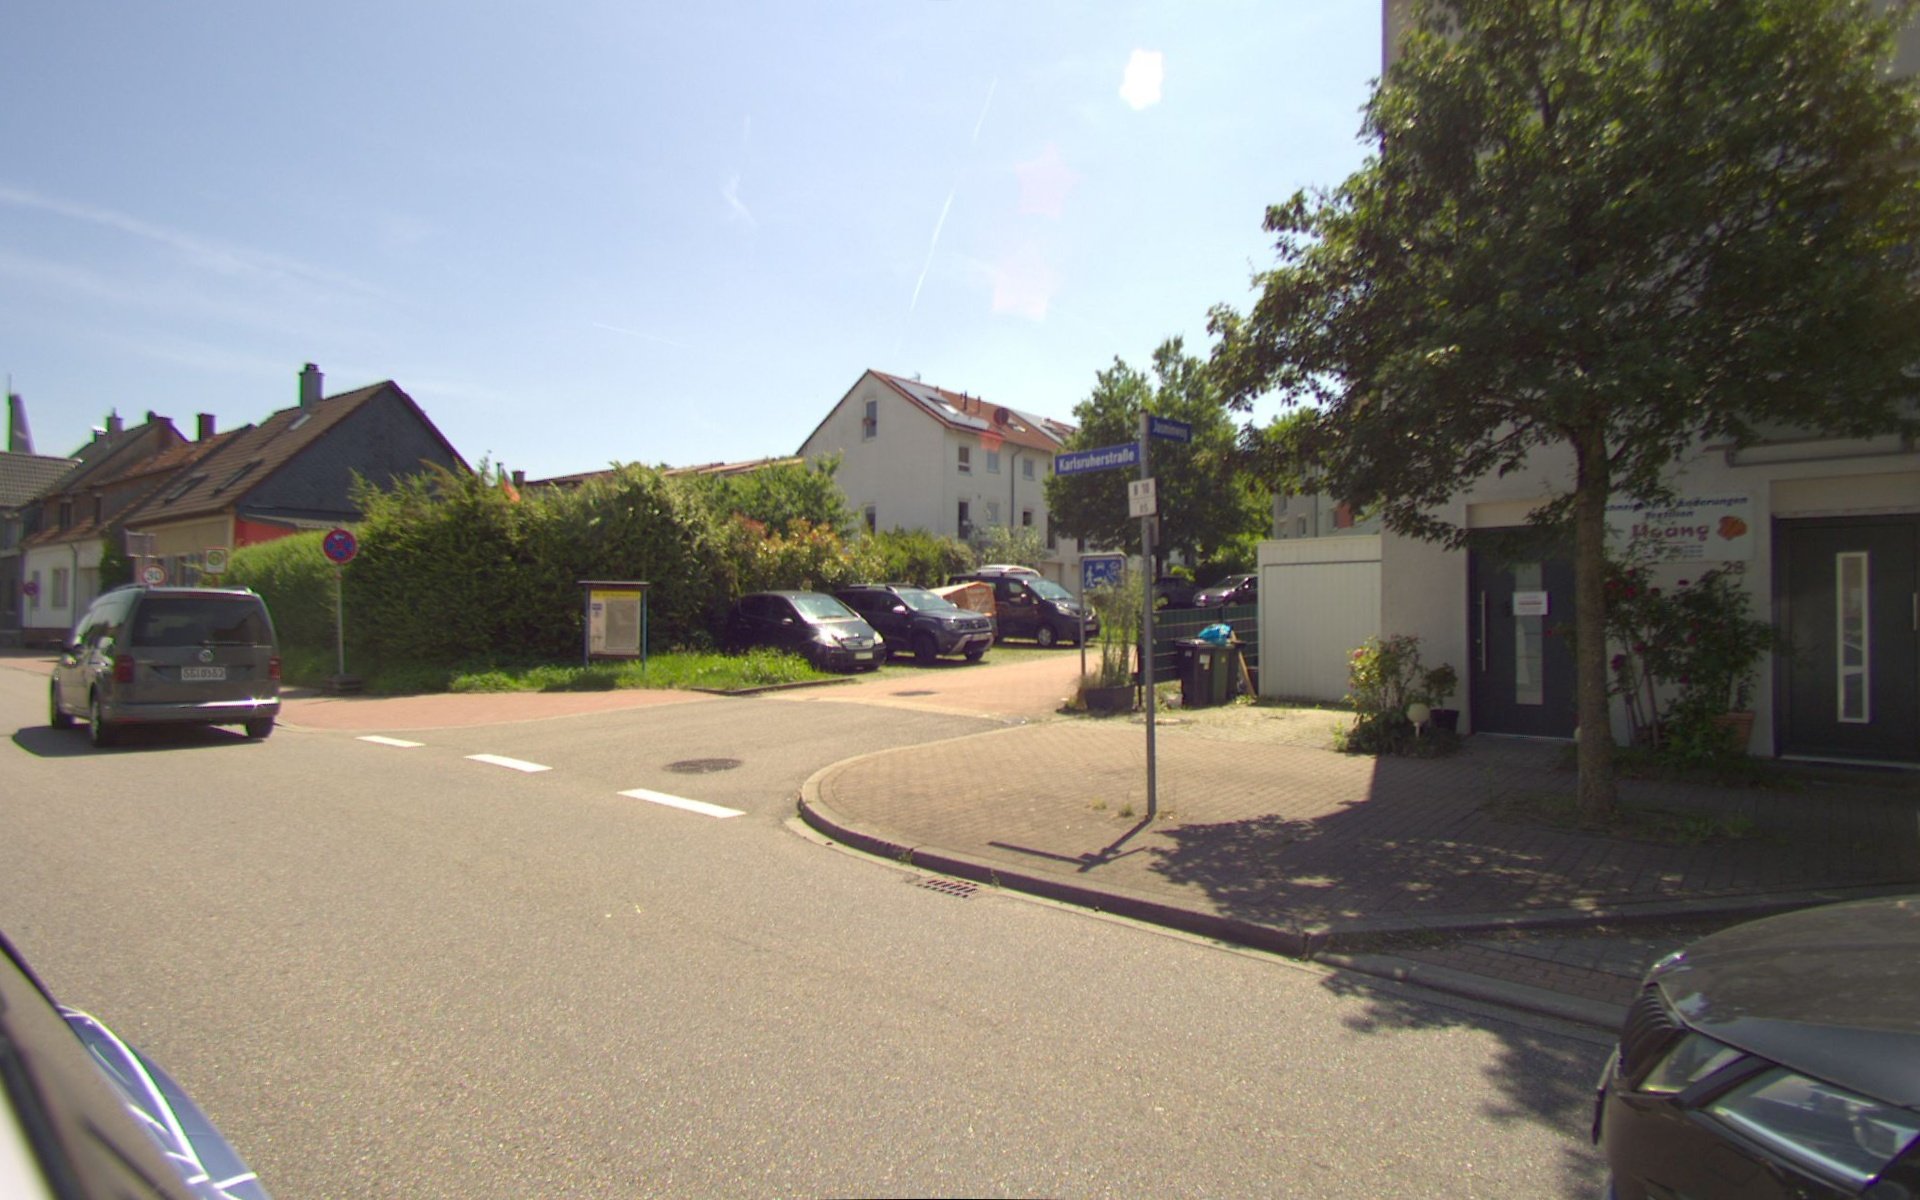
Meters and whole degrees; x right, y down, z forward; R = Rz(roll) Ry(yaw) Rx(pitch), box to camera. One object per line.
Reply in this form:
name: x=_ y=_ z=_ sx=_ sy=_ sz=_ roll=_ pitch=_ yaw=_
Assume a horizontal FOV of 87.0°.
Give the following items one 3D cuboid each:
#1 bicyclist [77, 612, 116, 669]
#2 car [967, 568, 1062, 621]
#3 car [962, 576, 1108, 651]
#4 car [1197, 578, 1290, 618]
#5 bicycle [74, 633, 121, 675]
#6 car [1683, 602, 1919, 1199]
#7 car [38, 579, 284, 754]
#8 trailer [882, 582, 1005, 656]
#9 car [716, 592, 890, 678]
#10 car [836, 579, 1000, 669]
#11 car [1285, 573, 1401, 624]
bicyclist: x=-23.699 y=1.105 z=27.781 sx=0.909 sy=1.505 sz=0.652 roll=-1 pitch=1 yaw=40
car: x=1.917 y=-0.210 z=34.739 sx=1.419 sy=1.747 sz=3.594 roll=0 pitch=1 yaw=38
car: x=1.896 y=0.318 z=26.234 sx=3.552 sy=1.794 sz=1.605 roll=-1 pitch=1 yaw=44
car: x=10.806 y=-0.077 z=38.530 sx=3.580 sy=1.463 sz=1.595 roll=0 pitch=0 yaw=-38
bicycle: x=-23.661 y=1.470 z=27.753 sx=2.025 sy=1.064 sz=0.664 roll=-1 pitch=1 yaw=41
car: x=3.266 y=0.740 z=0.785 sx=4.253 sy=1.458 sz=1.701 roll=-1 pitch=-4 yaw=41
car: x=-10.295 y=0.765 z=12.912 sx=4.462 sy=1.869 sz=1.638 roll=-1 pitch=-2 yaw=41
trailer: x=-0.421 y=0.456 z=25.074 sx=2.688 sy=1.676 sz=1.413 roll=-1 pitch=2 yaw=37
car: x=-3.256 y=0.663 z=20.642 sx=3.653 sy=1.552 sz=1.605 roll=-1 pitch=1 yaw=44
car: x=-0.969 y=0.487 z=22.274 sx=3.511 sy=1.793 sz=1.605 roll=-1 pitch=1 yaw=44
car: x=13.210 y=-0.078 z=34.854 sx=3.933 sy=1.635 sz=1.754 roll=-2 pitch=2 yaw=-33
